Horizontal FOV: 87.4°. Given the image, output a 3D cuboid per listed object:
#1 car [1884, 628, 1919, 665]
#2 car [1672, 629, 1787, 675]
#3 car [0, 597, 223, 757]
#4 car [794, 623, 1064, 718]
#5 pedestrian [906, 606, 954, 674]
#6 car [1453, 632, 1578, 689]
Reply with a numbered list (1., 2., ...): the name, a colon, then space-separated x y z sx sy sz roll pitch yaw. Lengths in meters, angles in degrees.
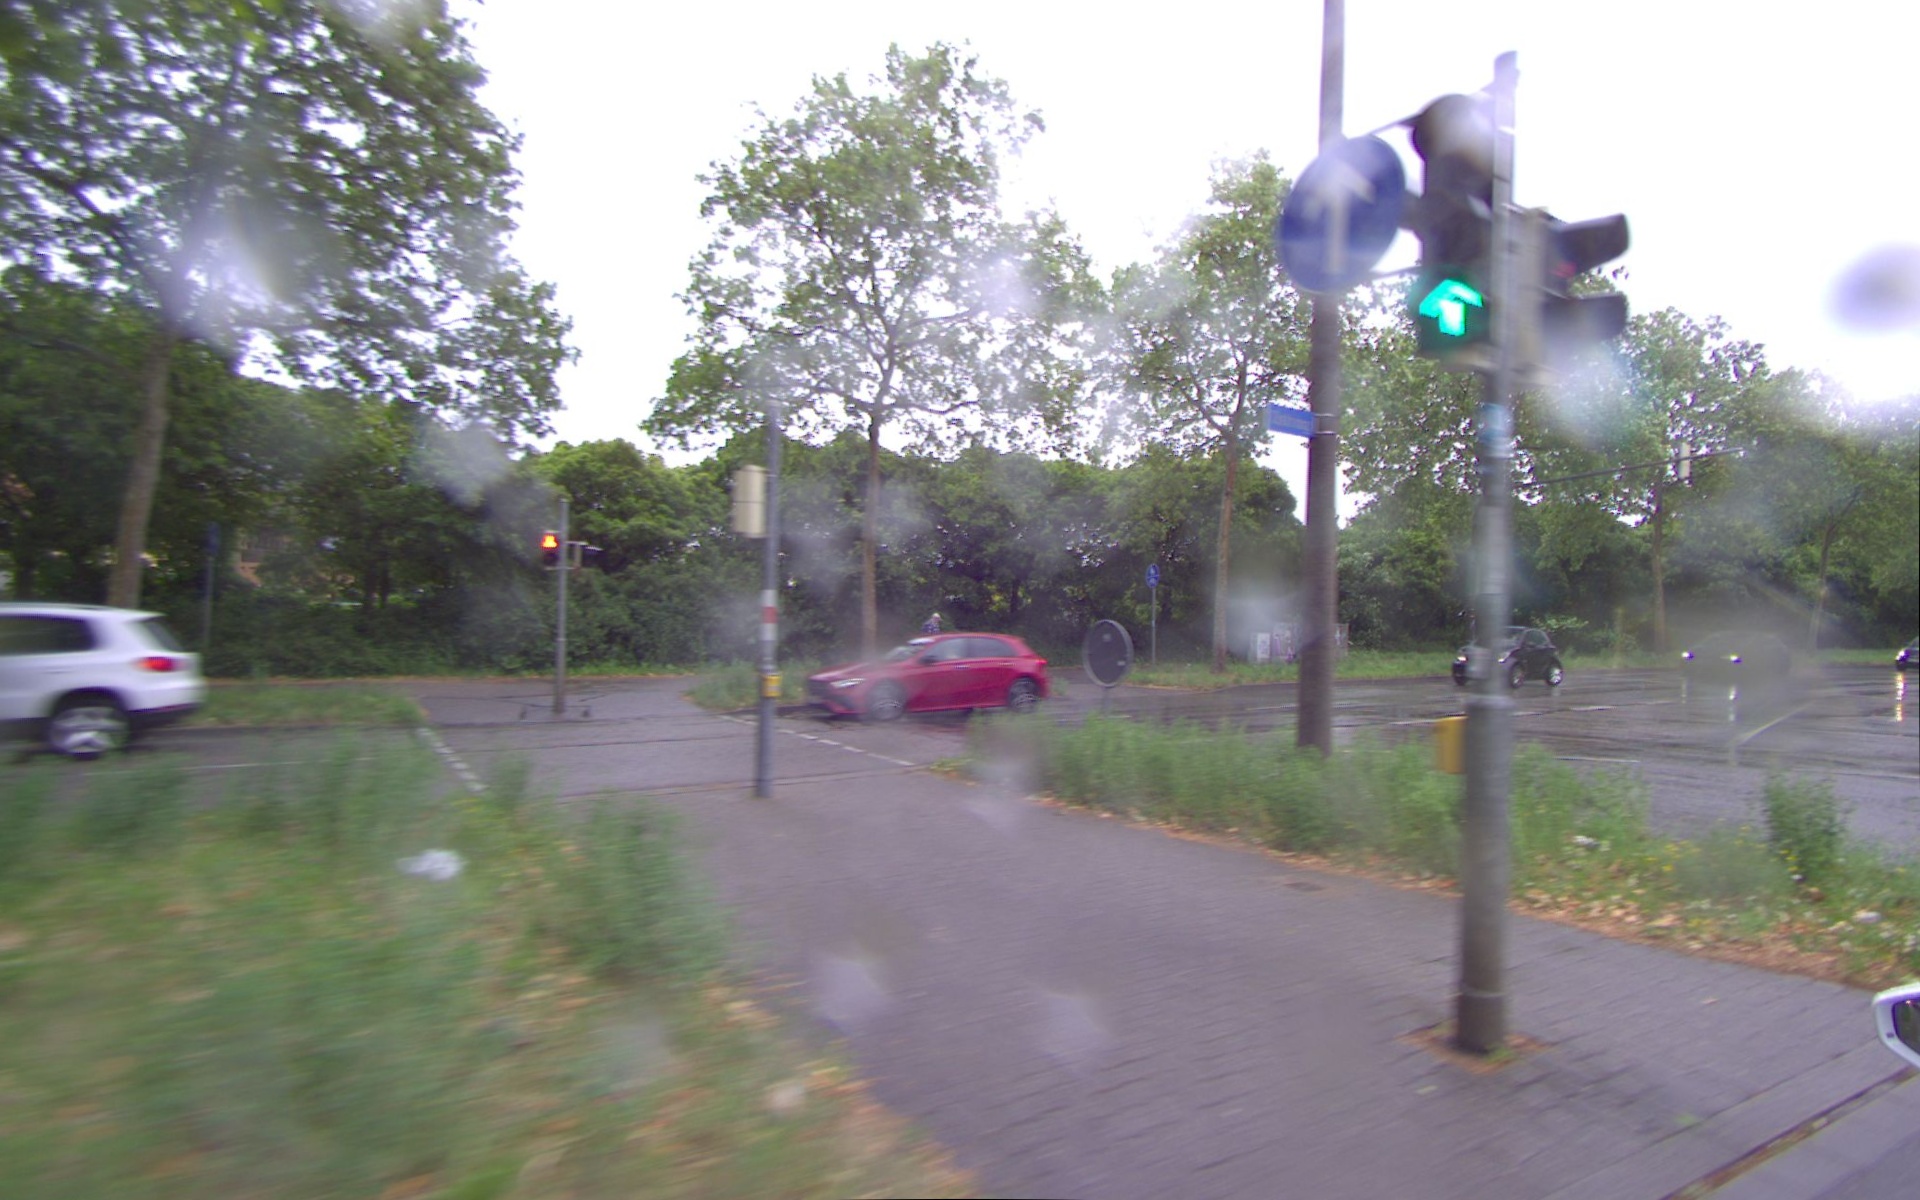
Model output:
1. car: 38.443 1.868 39.686 4.209 1.391 1.581 2 -1 -28
2. car: 25.350 1.705 33.076 4.213 1.391 1.579 2 -1 -31
3. car: -10.810 0.785 10.878 4.397 1.653 1.733 2 -1 -33
4. car: -0.475 1.169 17.315 4.396 1.426 1.733 2 -1 -33
5. pedestrian: -0.764 1.001 25.461 0.889 1.696 0.826 2 -1 -31
6. car: 14.792 1.579 26.730 3.299 1.391 1.578 2 -1 -34
